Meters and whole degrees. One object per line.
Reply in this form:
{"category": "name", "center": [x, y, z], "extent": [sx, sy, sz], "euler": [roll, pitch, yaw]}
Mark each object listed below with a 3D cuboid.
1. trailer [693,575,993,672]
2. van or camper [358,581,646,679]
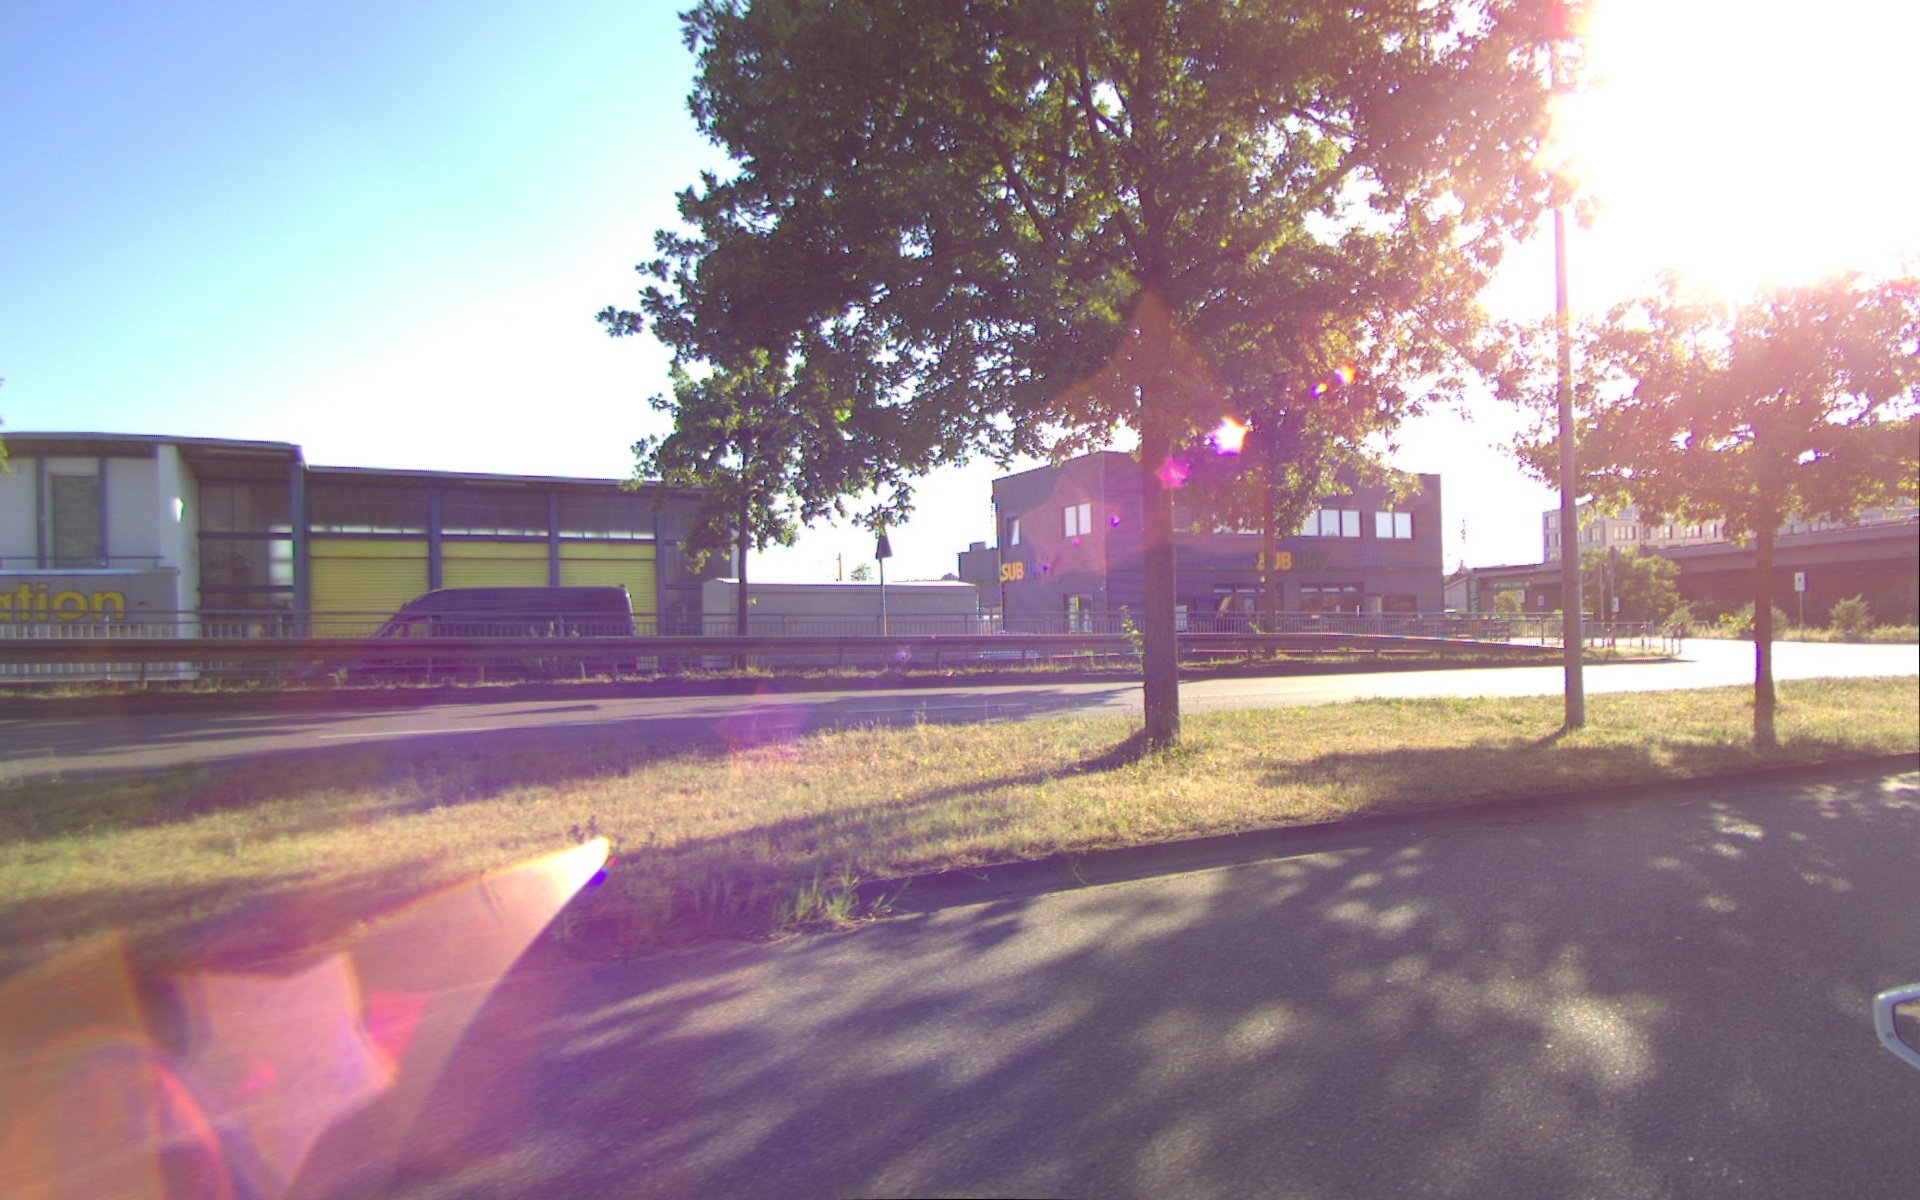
{"category": "trailer", "center": [-2.627, 0.555, 23.334], "extent": [6.526, 1.996, 2.409], "euler": [1, -1, -29]}
{"category": "van or camper", "center": [-8.855, 0.580, 19.603], "extent": [4.902, 1.708, 1.984], "euler": [1, -1, -30]}
